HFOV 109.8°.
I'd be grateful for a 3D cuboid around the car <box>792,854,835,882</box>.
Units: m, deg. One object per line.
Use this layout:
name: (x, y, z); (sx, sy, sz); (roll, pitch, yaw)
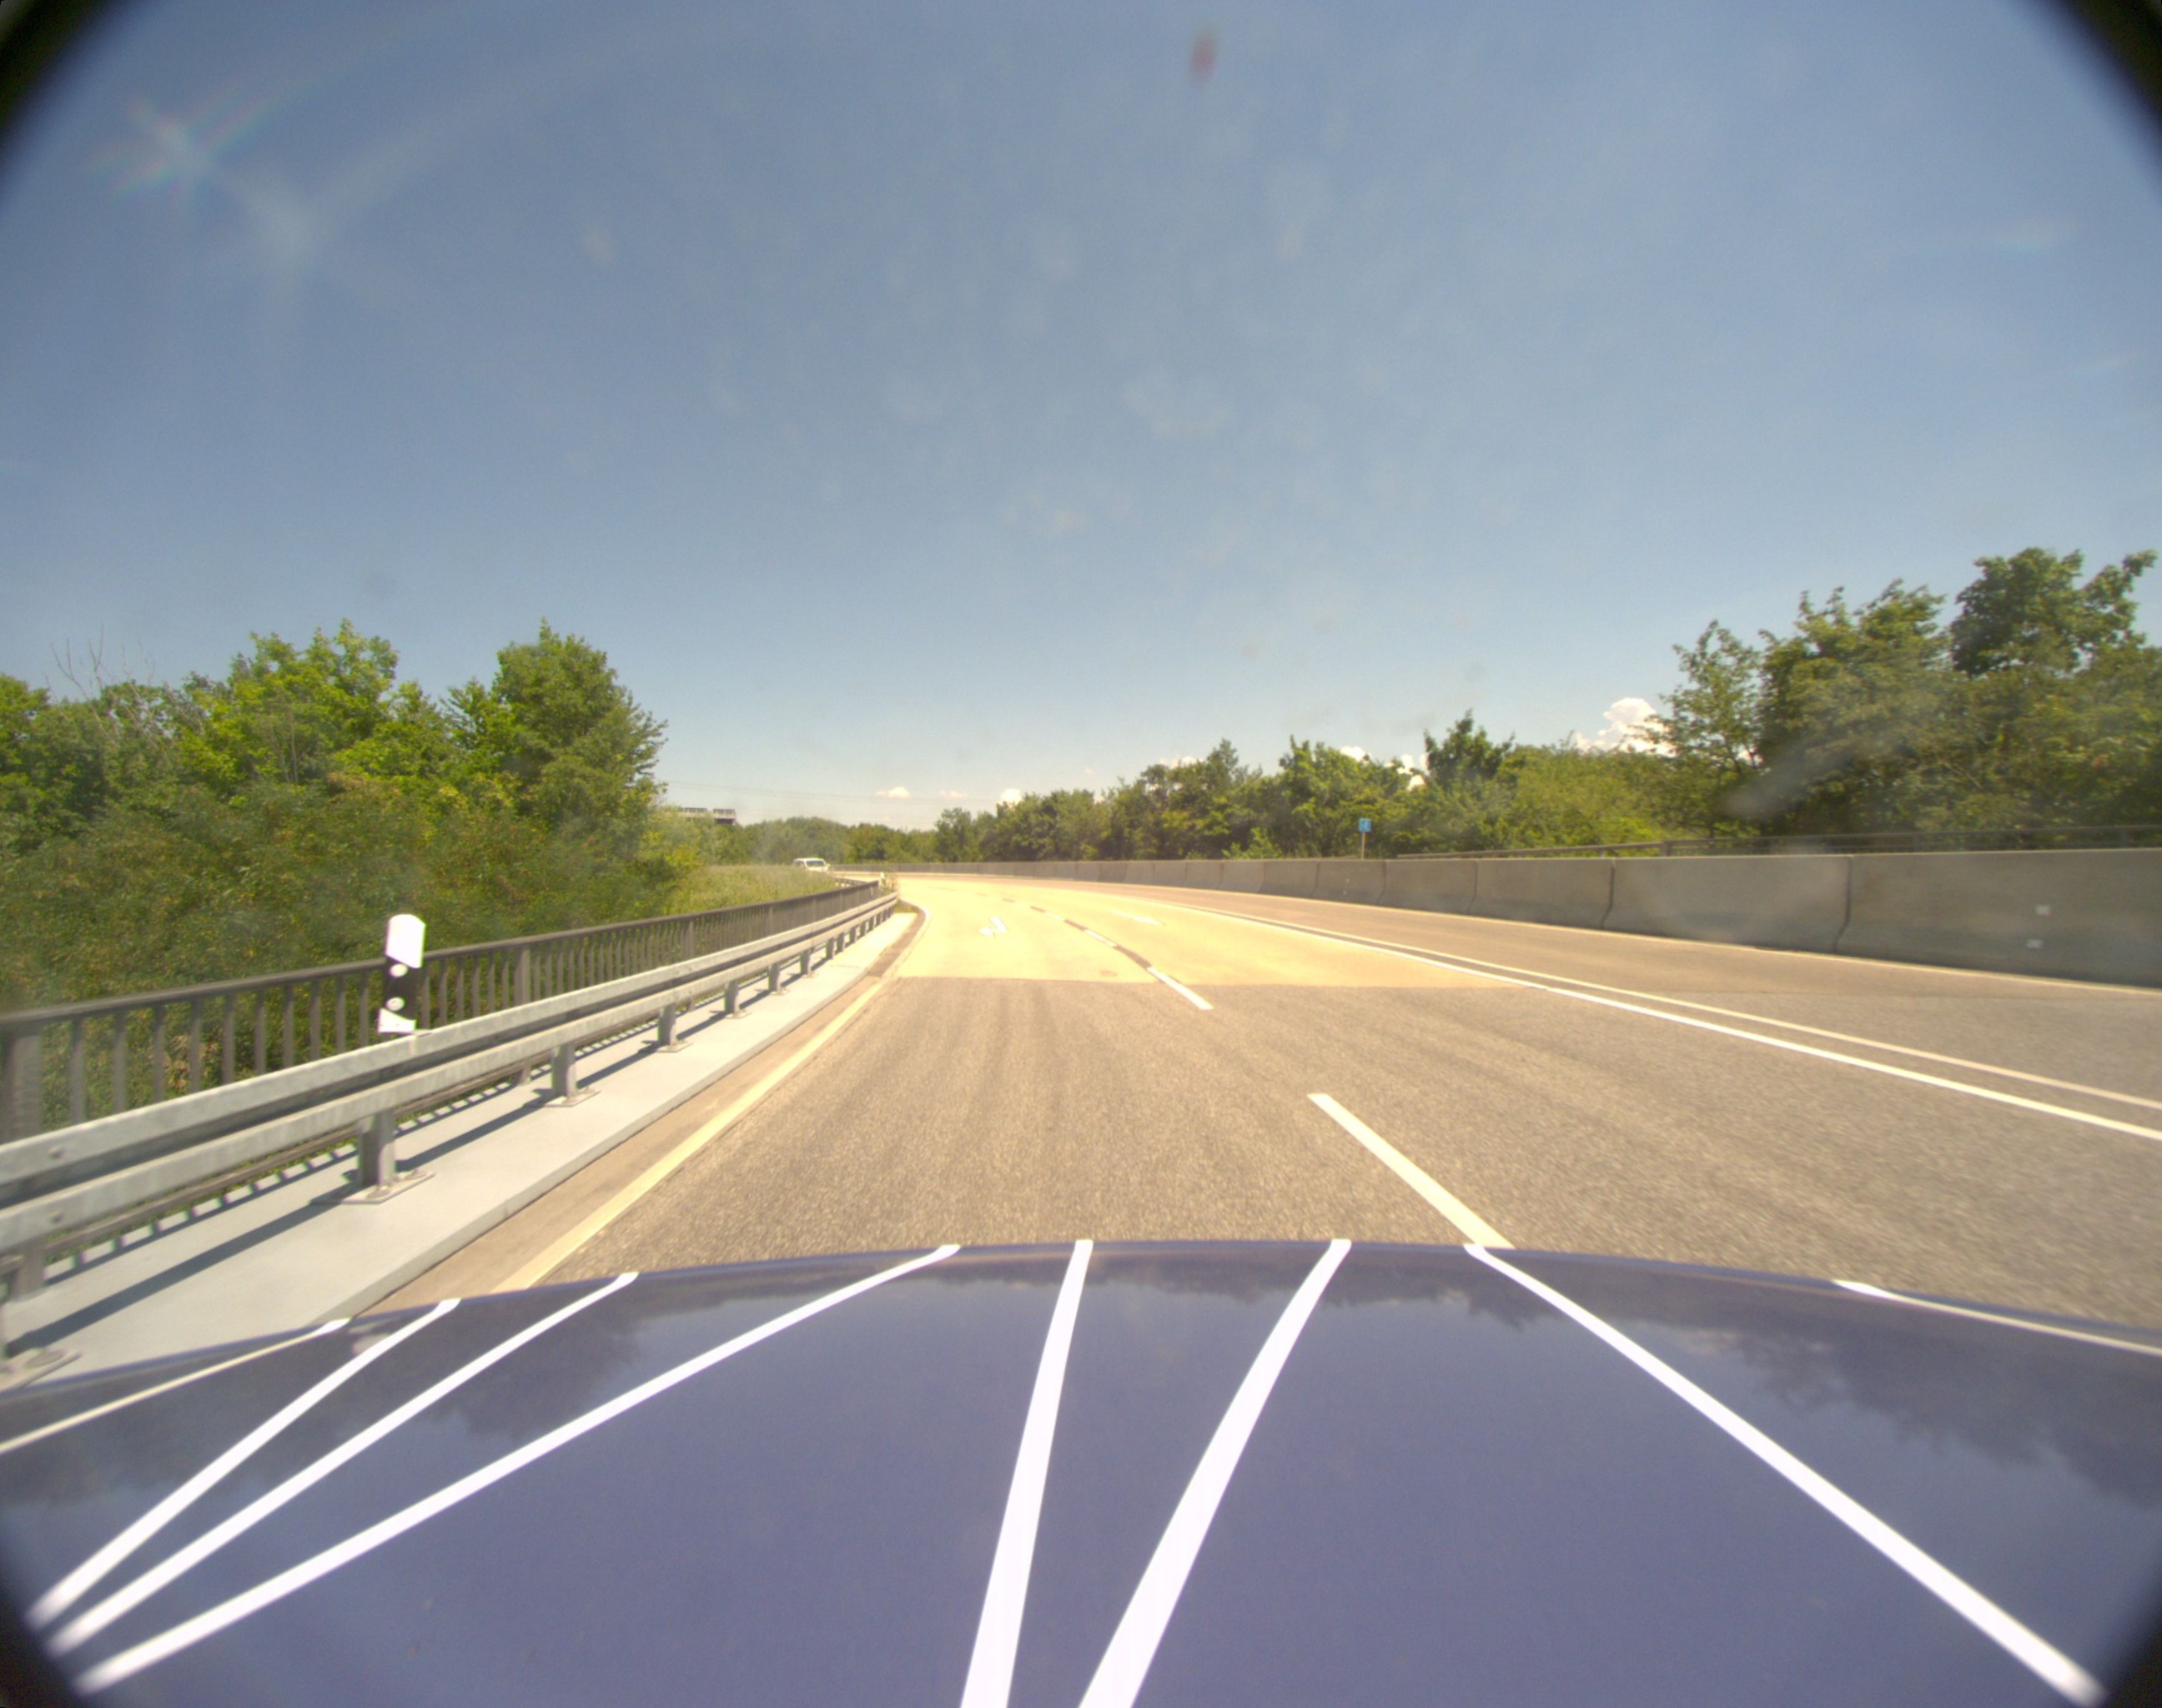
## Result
car: (-22.851, 1.145, 64.831); (2.035, 2.073, 5.855); (-2, 3, -34)
